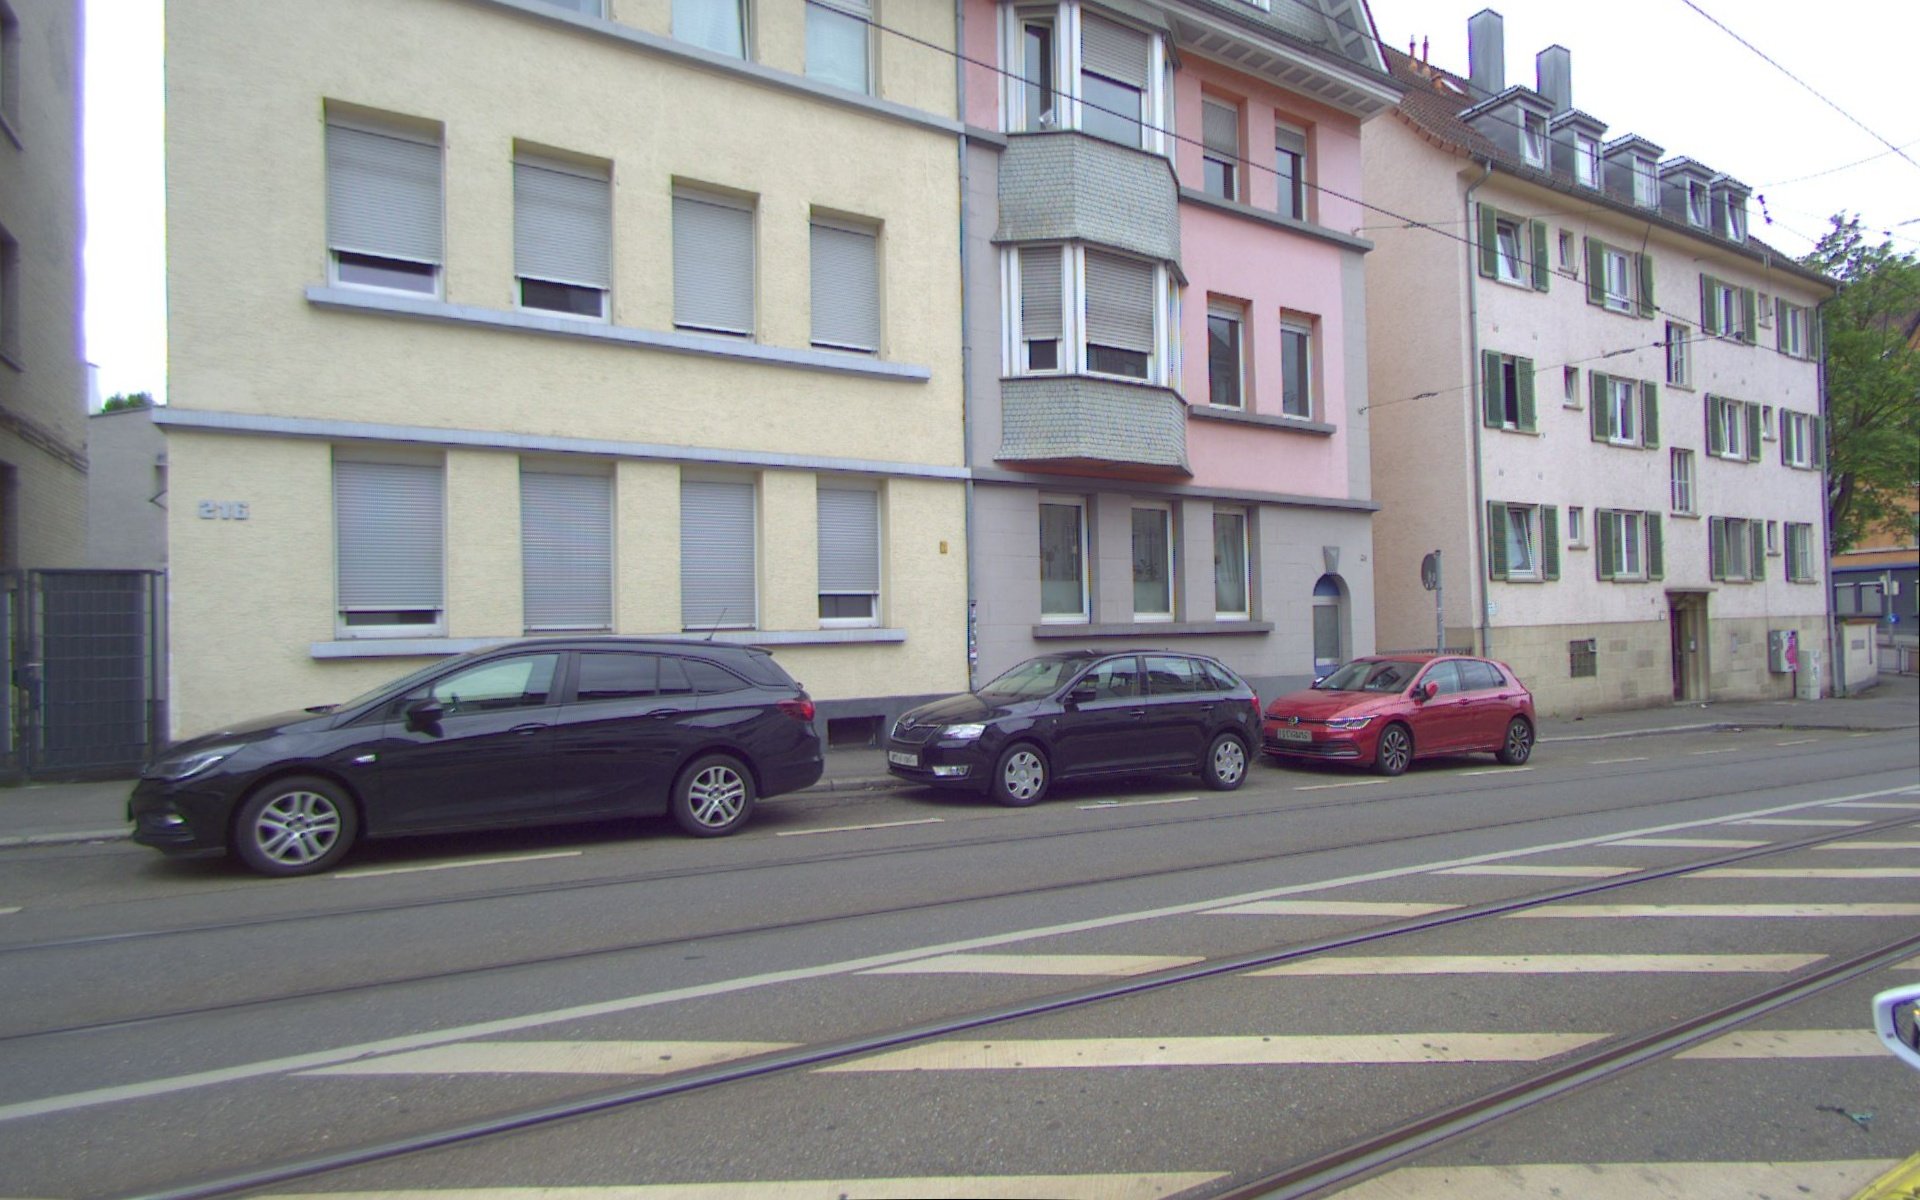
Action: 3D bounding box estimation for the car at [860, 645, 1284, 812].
[{"bbox_3d":[1.232,1.226,10.509,4.192,1.429,1.777,2,-4,-30],"label":"car"}]

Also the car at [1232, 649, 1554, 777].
[{"bbox_3d":[5.792,1.409,13.333,4.211,1.457,1.777,2,-4,-30],"label":"car"}]

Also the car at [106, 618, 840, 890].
[{"bbox_3d":[-3.319,0.992,7.608,4.473,1.530,1.777,2,-4,-30],"label":"car"}]
